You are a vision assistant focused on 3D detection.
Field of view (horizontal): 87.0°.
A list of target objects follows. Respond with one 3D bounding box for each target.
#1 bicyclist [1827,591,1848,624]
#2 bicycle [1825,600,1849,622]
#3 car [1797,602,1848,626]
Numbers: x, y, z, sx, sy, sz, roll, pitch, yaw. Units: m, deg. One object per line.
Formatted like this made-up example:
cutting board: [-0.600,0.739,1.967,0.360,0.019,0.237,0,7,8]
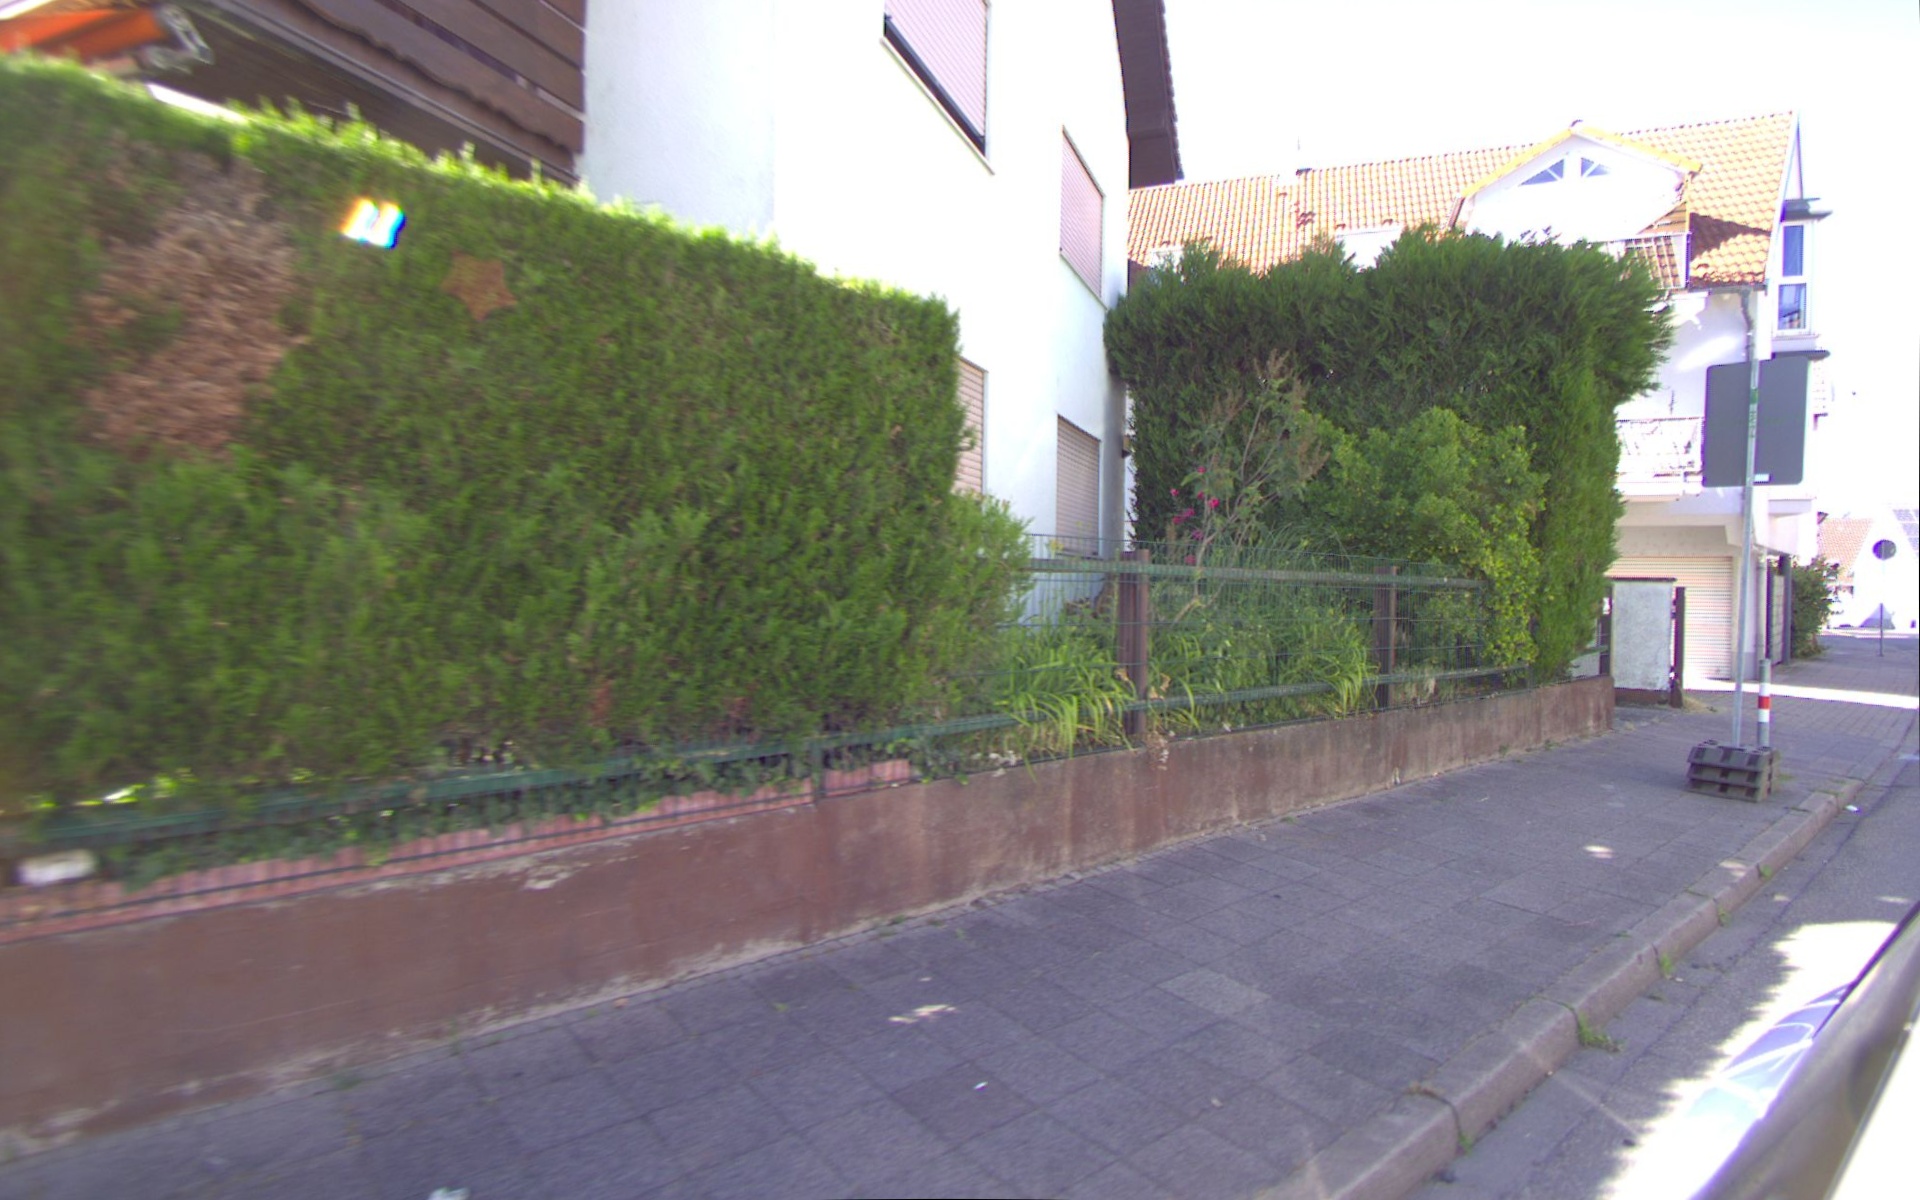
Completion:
bicyclist: [48.442,0.404,55.878,0.640,1.683,0.598,8,6,34]
bicycle: [48.507,0.612,55.988,0.635,1.197,2.000,1,0,31]
car: [56.484,0.877,66.335,1.531,1.477,3.685,1,1,24]
